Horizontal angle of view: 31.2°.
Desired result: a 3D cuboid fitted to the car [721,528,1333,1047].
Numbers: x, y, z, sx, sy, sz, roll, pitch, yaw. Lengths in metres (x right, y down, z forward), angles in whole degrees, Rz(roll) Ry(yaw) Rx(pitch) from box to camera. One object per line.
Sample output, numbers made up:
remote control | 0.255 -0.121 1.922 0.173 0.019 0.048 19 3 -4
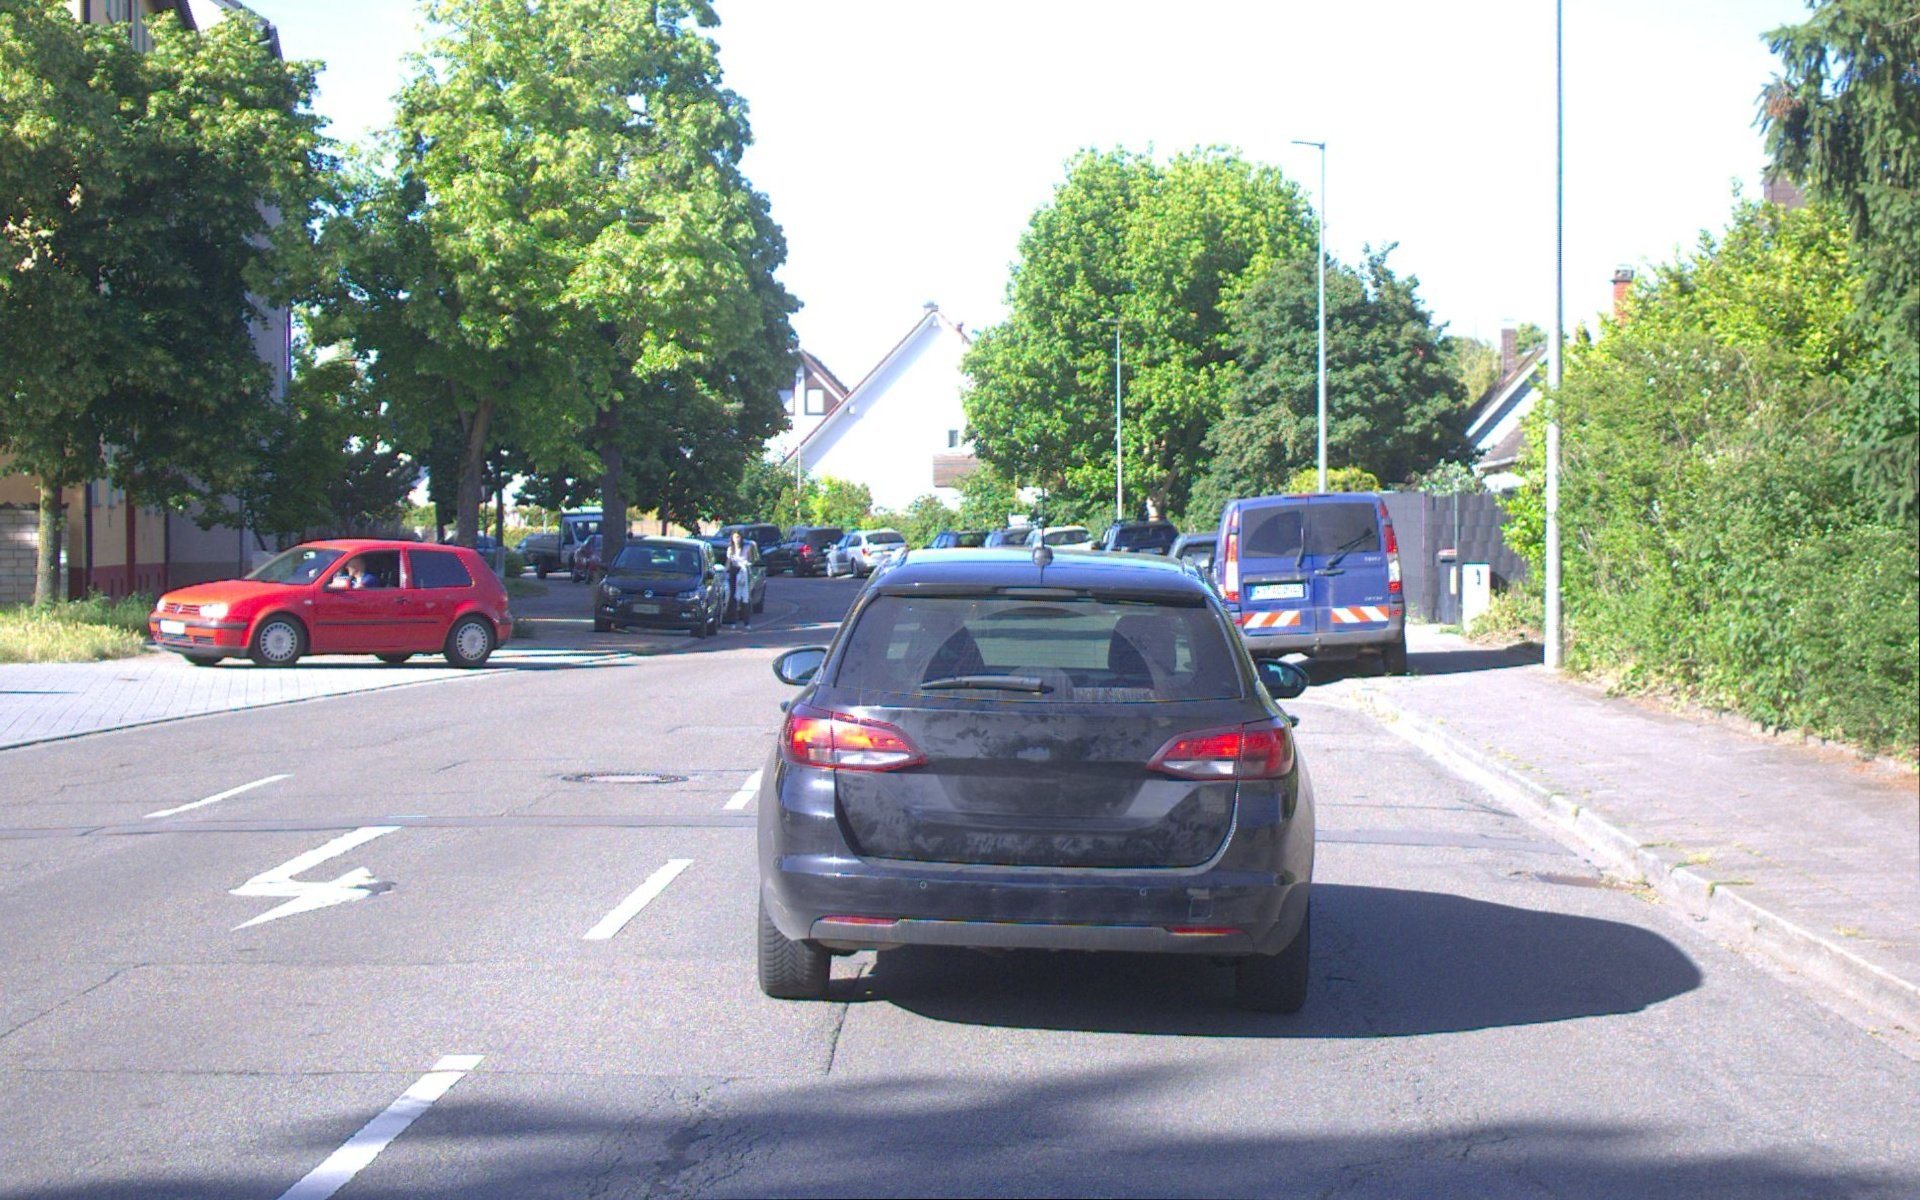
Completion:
car | 0.244 0.523 12.177 1.762 1.486 4.291 1 1 1

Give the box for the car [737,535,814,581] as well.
car | -6.434 -1.451 119.648 1.819 1.529 4.260 -1 1 -15

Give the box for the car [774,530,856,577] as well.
car | -4.856 -1.542 114.459 1.819 1.529 4.260 -1 1 -15

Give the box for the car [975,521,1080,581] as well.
car | 1.839 -1.333 94.864 1.911 1.595 4.295 -1 1 -13

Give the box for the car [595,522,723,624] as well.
car | -4.607 -0.390 53.111 1.700 1.475 4.052 2 0 -2

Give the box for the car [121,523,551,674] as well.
car | -6.981 -0.057 38.737 2.017 1.563 4.381 3 3 45

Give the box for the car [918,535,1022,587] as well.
car | 0.250 -1.135 100.267 2.005 1.470 4.295 -1 1 -14

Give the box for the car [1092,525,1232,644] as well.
car | 2.709 -0.252 47.035 1.765 1.475 4.991 -1 2 2

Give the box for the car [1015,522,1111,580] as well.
car | 2.683 -1.271 90.240 1.760 1.475 4.295 -1 1 -9

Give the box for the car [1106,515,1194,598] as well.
car | 4.069 -0.941 74.273 1.778 1.718 4.294 -1 1 2

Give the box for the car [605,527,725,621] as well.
car | -5.019 -0.416 58.892 1.700 1.518 4.052 -1 0 -1

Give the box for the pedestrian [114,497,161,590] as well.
pedestrian | -15.324 -1.047 64.051 0.685 1.712 0.720 -1 -1 1

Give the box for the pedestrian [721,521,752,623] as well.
pedestrian | -3.869 -0.476 59.516 0.504 1.755 0.695 -1 -1 -2

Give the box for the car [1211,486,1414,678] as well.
car | 3.686 -0.232 36.637 1.837 1.901 4.698 0 1 2

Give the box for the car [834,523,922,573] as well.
car | -2.639 -1.640 109.247 1.819 1.529 4.260 -1 1 -15
